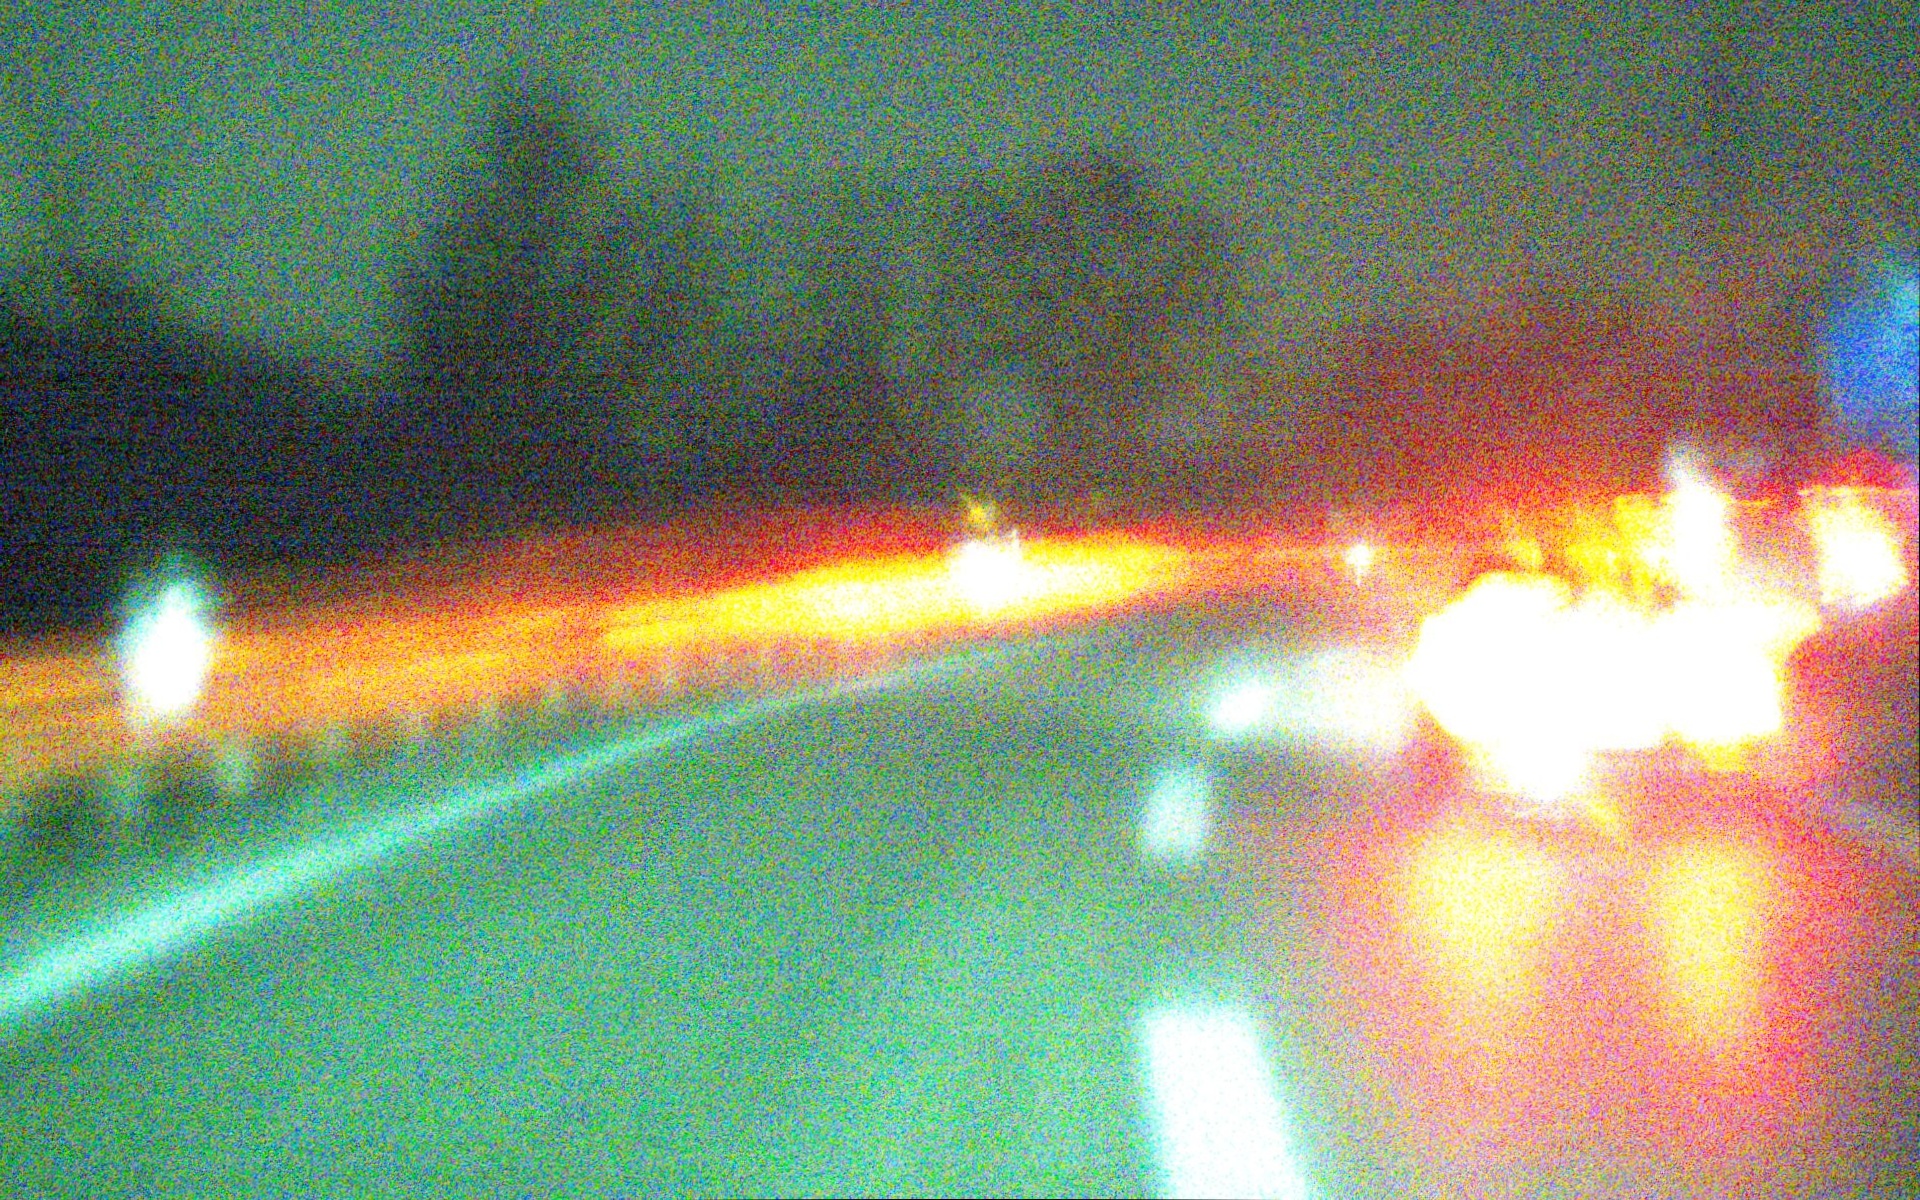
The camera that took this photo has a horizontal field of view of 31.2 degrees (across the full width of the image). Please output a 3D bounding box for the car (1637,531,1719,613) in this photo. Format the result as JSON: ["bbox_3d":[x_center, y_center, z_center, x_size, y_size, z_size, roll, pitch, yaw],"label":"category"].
[{"bbox_3d":[18.528,-0.722,88.612,1.896,2.033,4.043,1,1,14],"label":"car"}]

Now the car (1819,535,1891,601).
[{"bbox_3d":[27.887,-1.004,107.066,1.897,1.991,4.042,0,1,18],"label":"car"}]

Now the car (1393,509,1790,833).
[{"bbox_3d":[3.562,0.331,20.047,1.861,1.641,4.068,2,1,5],"label":"car"}]
